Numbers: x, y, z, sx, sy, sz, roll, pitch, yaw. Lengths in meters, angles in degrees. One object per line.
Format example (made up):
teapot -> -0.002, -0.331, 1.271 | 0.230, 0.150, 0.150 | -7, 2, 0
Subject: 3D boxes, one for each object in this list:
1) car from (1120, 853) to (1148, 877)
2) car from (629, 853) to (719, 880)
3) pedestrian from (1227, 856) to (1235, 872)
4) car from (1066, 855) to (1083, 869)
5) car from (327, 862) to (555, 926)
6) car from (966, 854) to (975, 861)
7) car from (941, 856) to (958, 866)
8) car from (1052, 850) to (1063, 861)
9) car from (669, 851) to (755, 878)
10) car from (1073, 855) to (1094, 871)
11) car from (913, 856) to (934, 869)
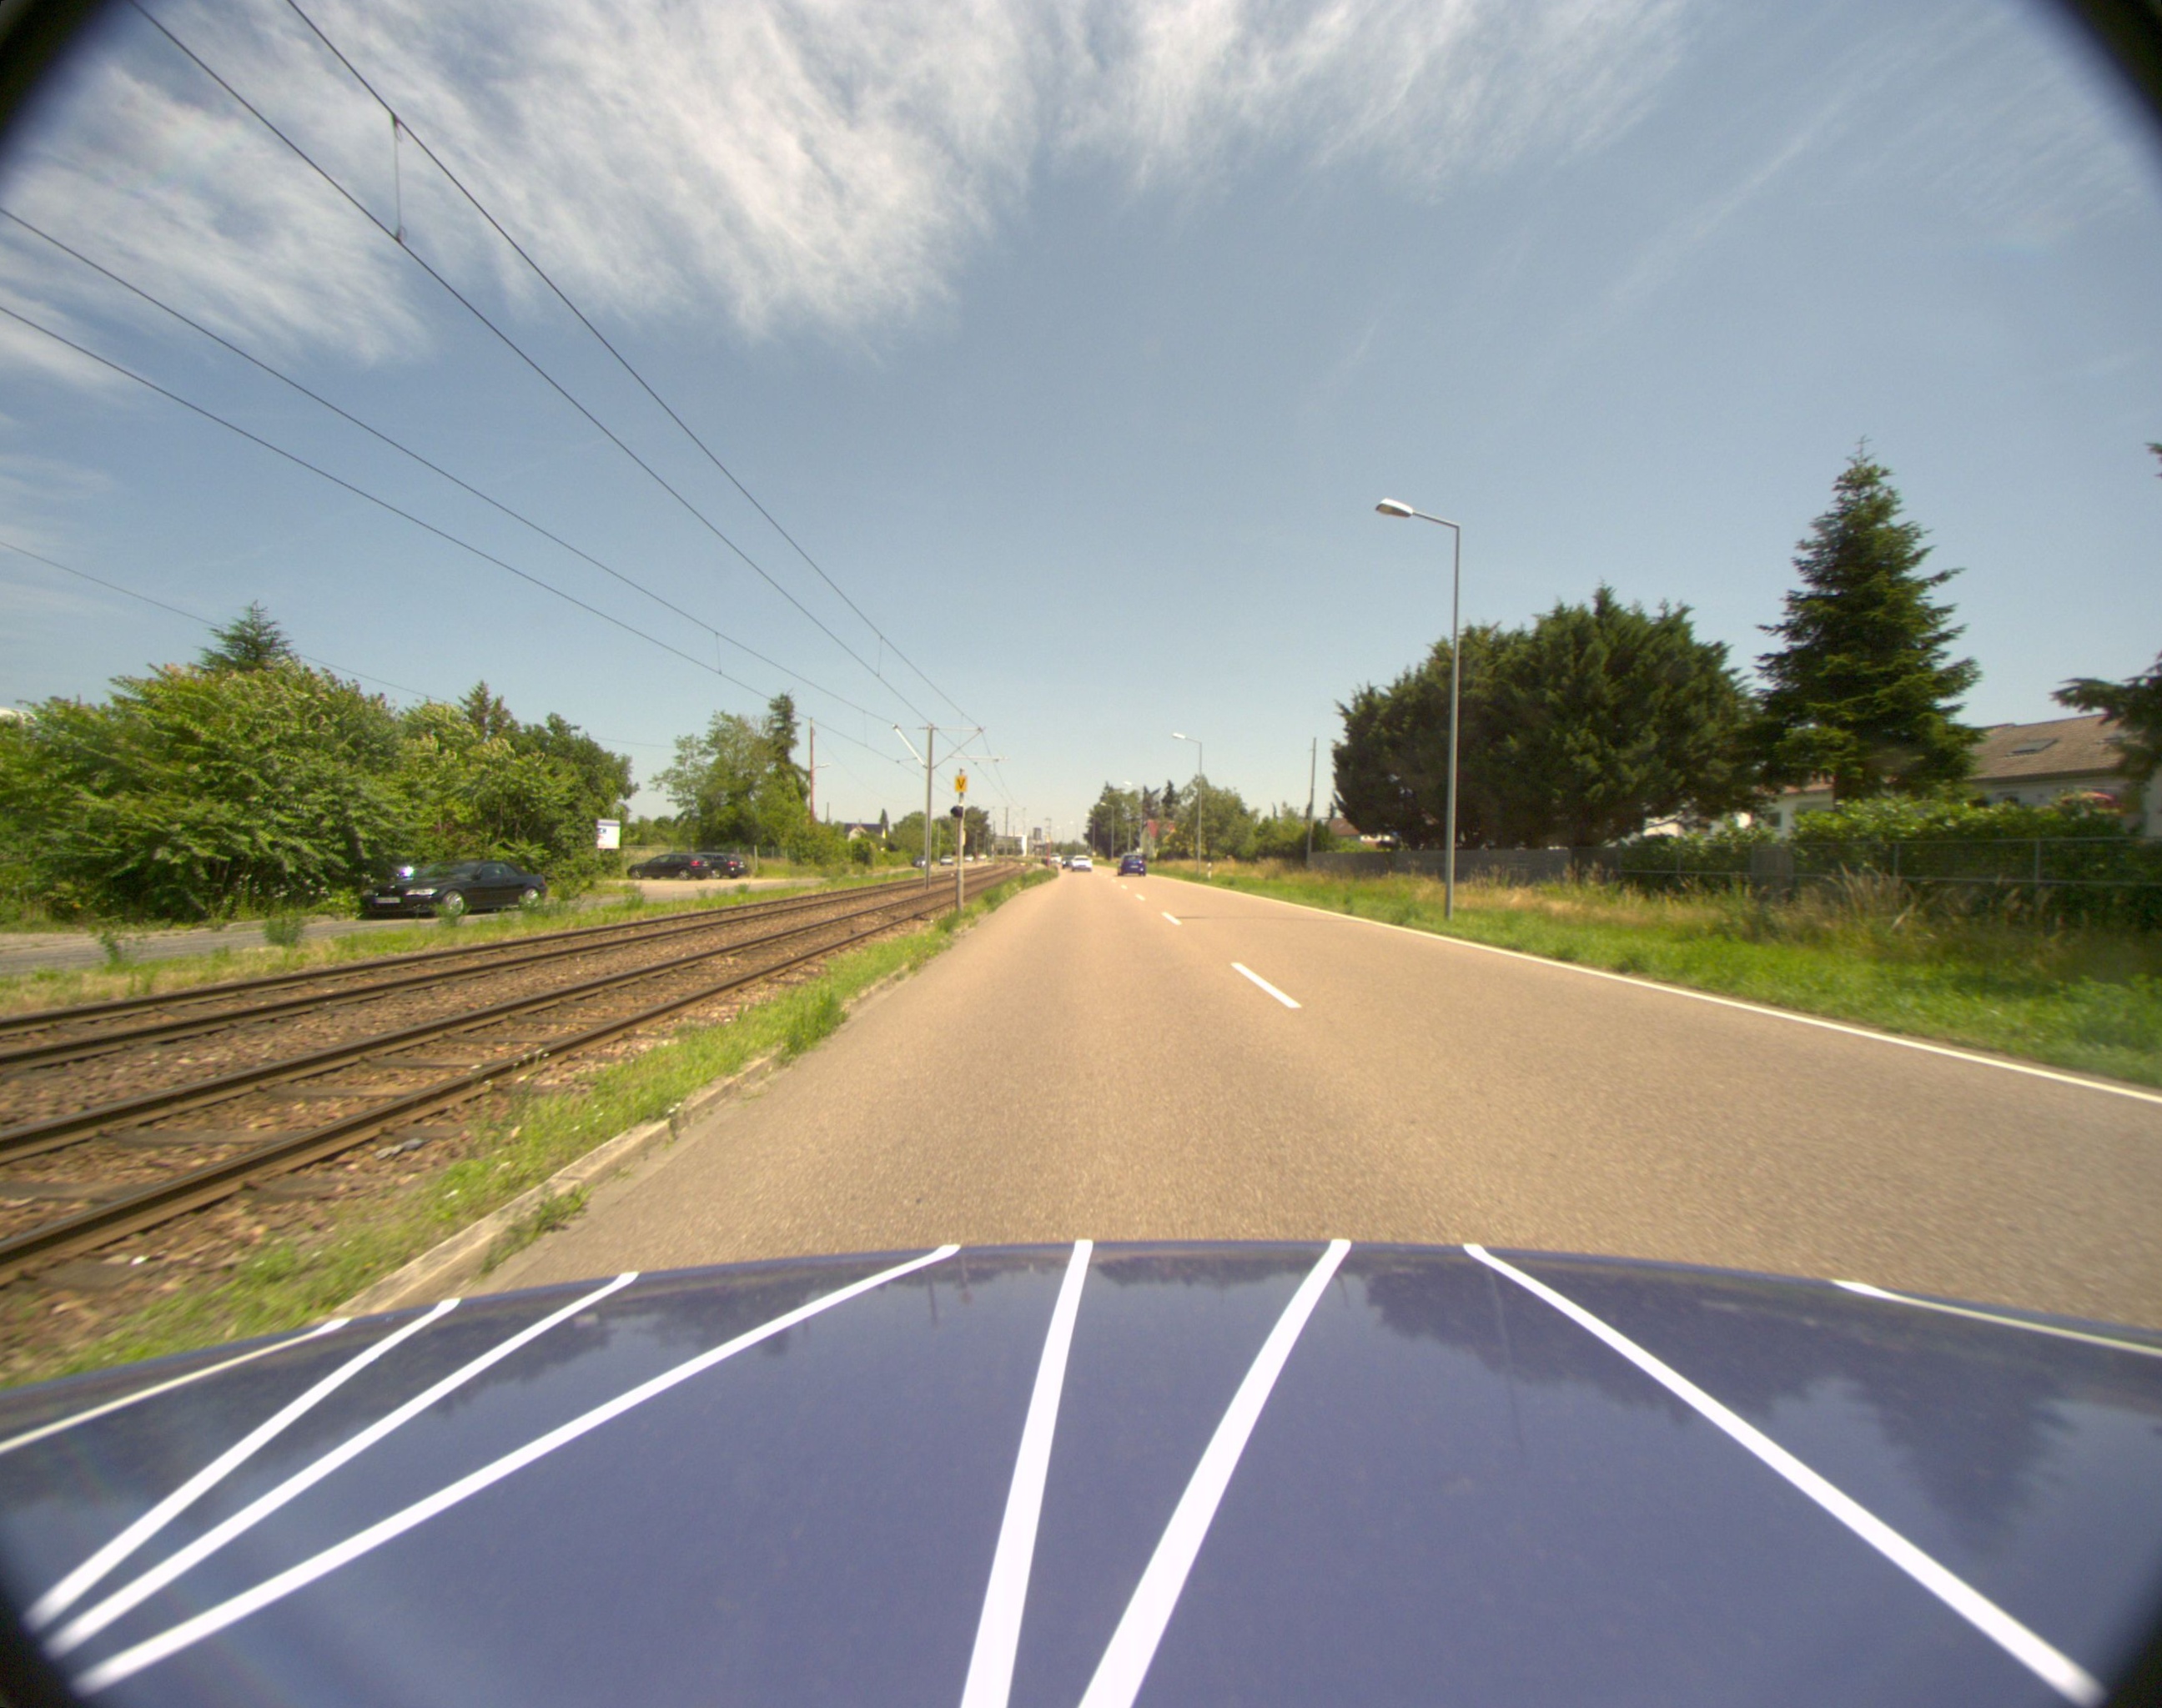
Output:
car -> 3.818, 0.772, 55.564 | 1.751, 1.622, 4.029 | 0, 0, 0
car -> -21.701, 0.661, 40.606 | 3.737, 1.411, 1.899 | 0, 0, 0
pedestrian -> 13.572, 0.918, 68.668 | 0.610, 1.469, 0.633 | 0, 1, -2
car -> -0.791, 0.906, 88.157 | 1.999, 1.576, 3.999 | 0, 0, -1
car -> -15.381, 0.893, 18.673 | 1.866, 1.322, 4.514 | 0, 0, -2
car -> -23.717, 0.824, 162.865 | 1.718, 1.480, 3.999 | 0, 0, -5
car -> -18.499, 1.008, 107.186 | 1.945, 1.414, 3.998 | 0, 0, -4
car -> -4.329, 0.292, 136.903 | 1.938, 2.002, 3.999 | 0, 0, -3
car -> -20.905, 0.598, 43.121 | 3.995, 1.508, 1.900 | 0, 0, 5
car -> 0.207, 0.852, 71.537 | 1.856, 1.447, 3.705 | 0, 0, -1
car -> -18.333, 0.990, 88.548 | 1.624, 1.414, 4.871 | 0, 0, -3
